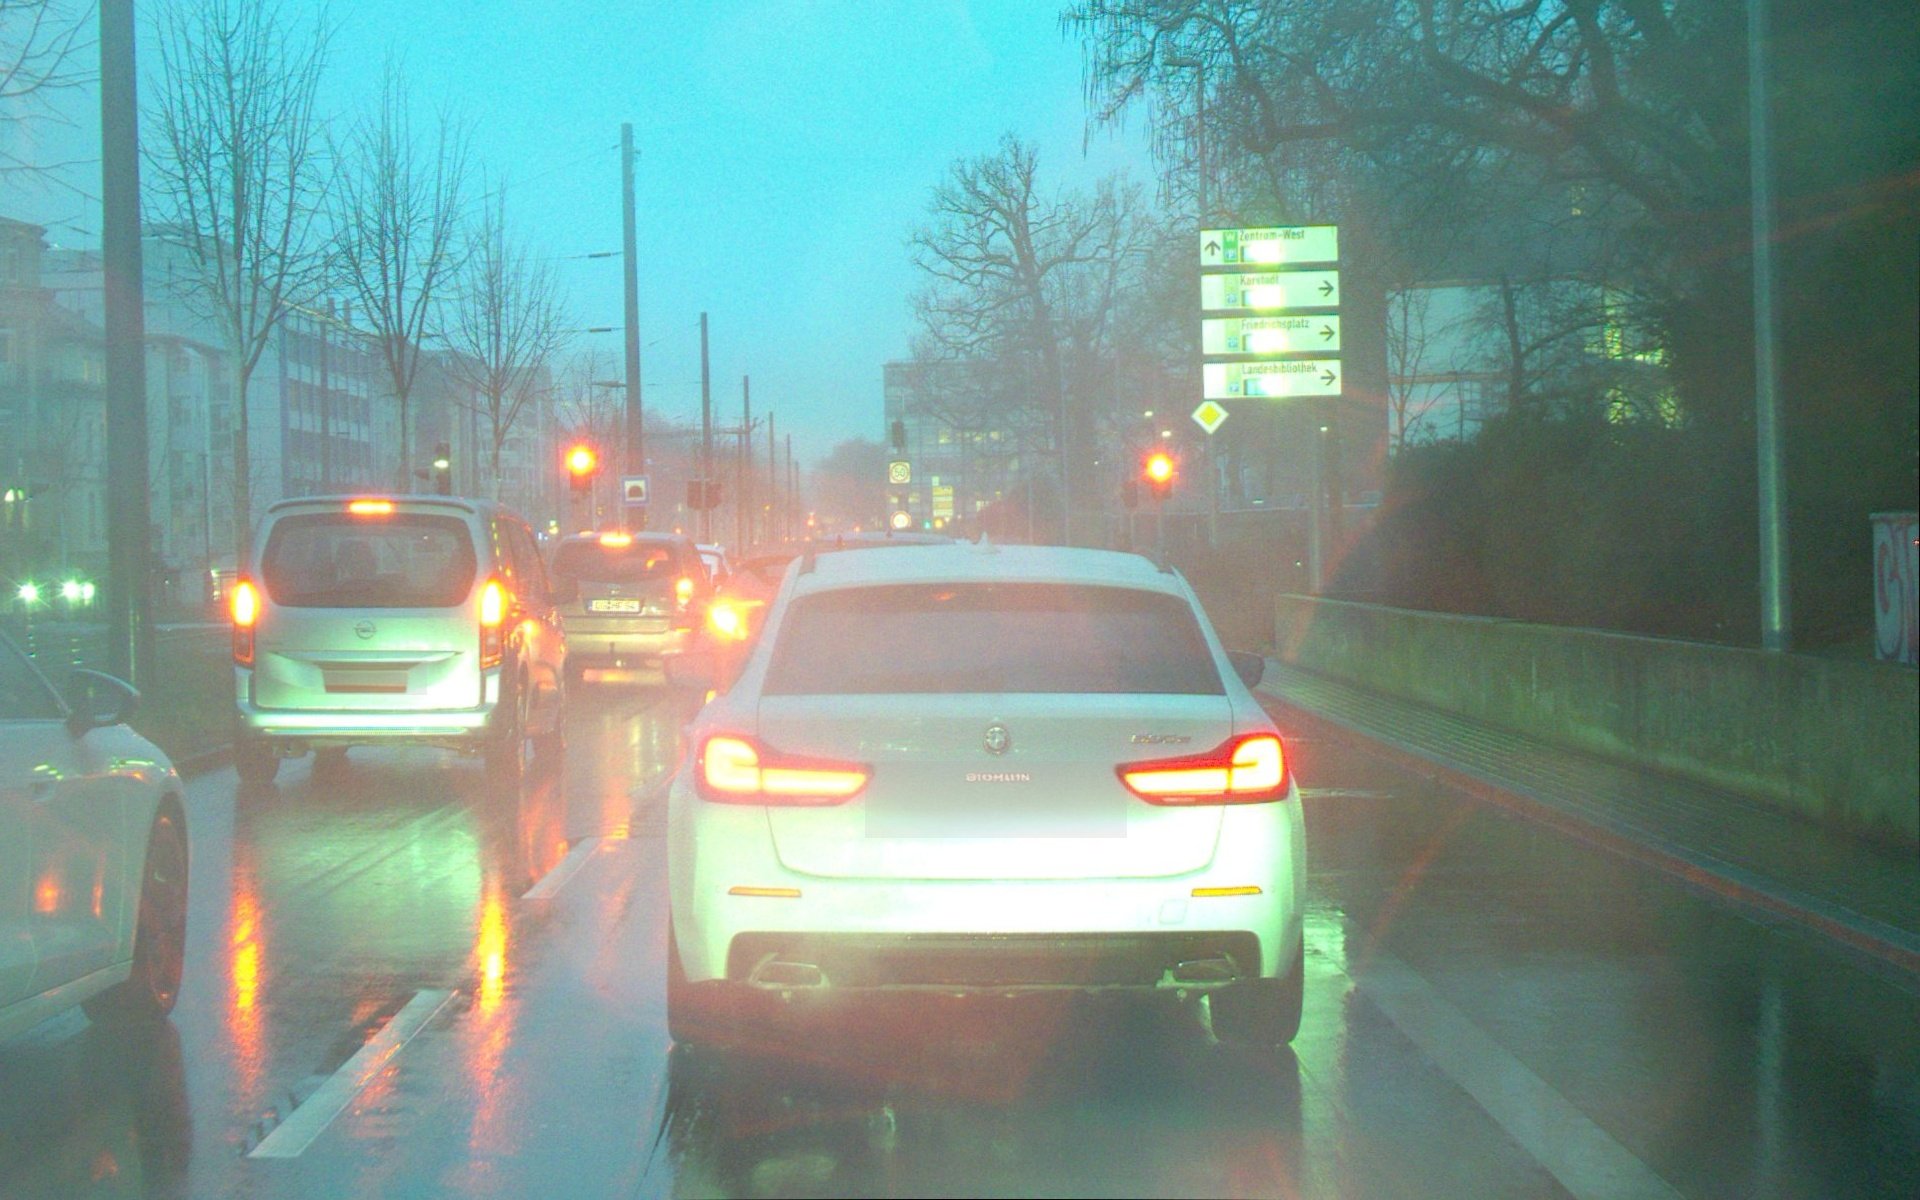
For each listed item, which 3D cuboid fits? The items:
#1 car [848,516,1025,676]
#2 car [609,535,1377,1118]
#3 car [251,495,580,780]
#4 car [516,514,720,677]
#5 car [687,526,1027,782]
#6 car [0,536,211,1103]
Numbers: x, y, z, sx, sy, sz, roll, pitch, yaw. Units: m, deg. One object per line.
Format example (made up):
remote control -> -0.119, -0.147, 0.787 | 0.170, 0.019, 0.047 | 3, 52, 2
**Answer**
car -> -0.261, -0.083, 37.117 | 1.806, 1.640, 4.000 | 0, 1, -1
car -> 0.059, 0.552, 11.065 | 1.999, 1.503, 4.164 | 0, 1, -1
car -> -3.562, 0.195, 23.172 | 1.793, 1.730, 4.538 | 0, 1, -4
car -> -3.575, -0.089, 36.510 | 1.806, 1.640, 4.000 | 0, 1, -1
car -> -0.617, 0.262, 21.732 | 1.936, 1.452, 4.164 | 0, 1, -1
car -> -3.302, 0.534, 8.842 | 1.846, 1.400, 4.614 | 0, 1, -1
